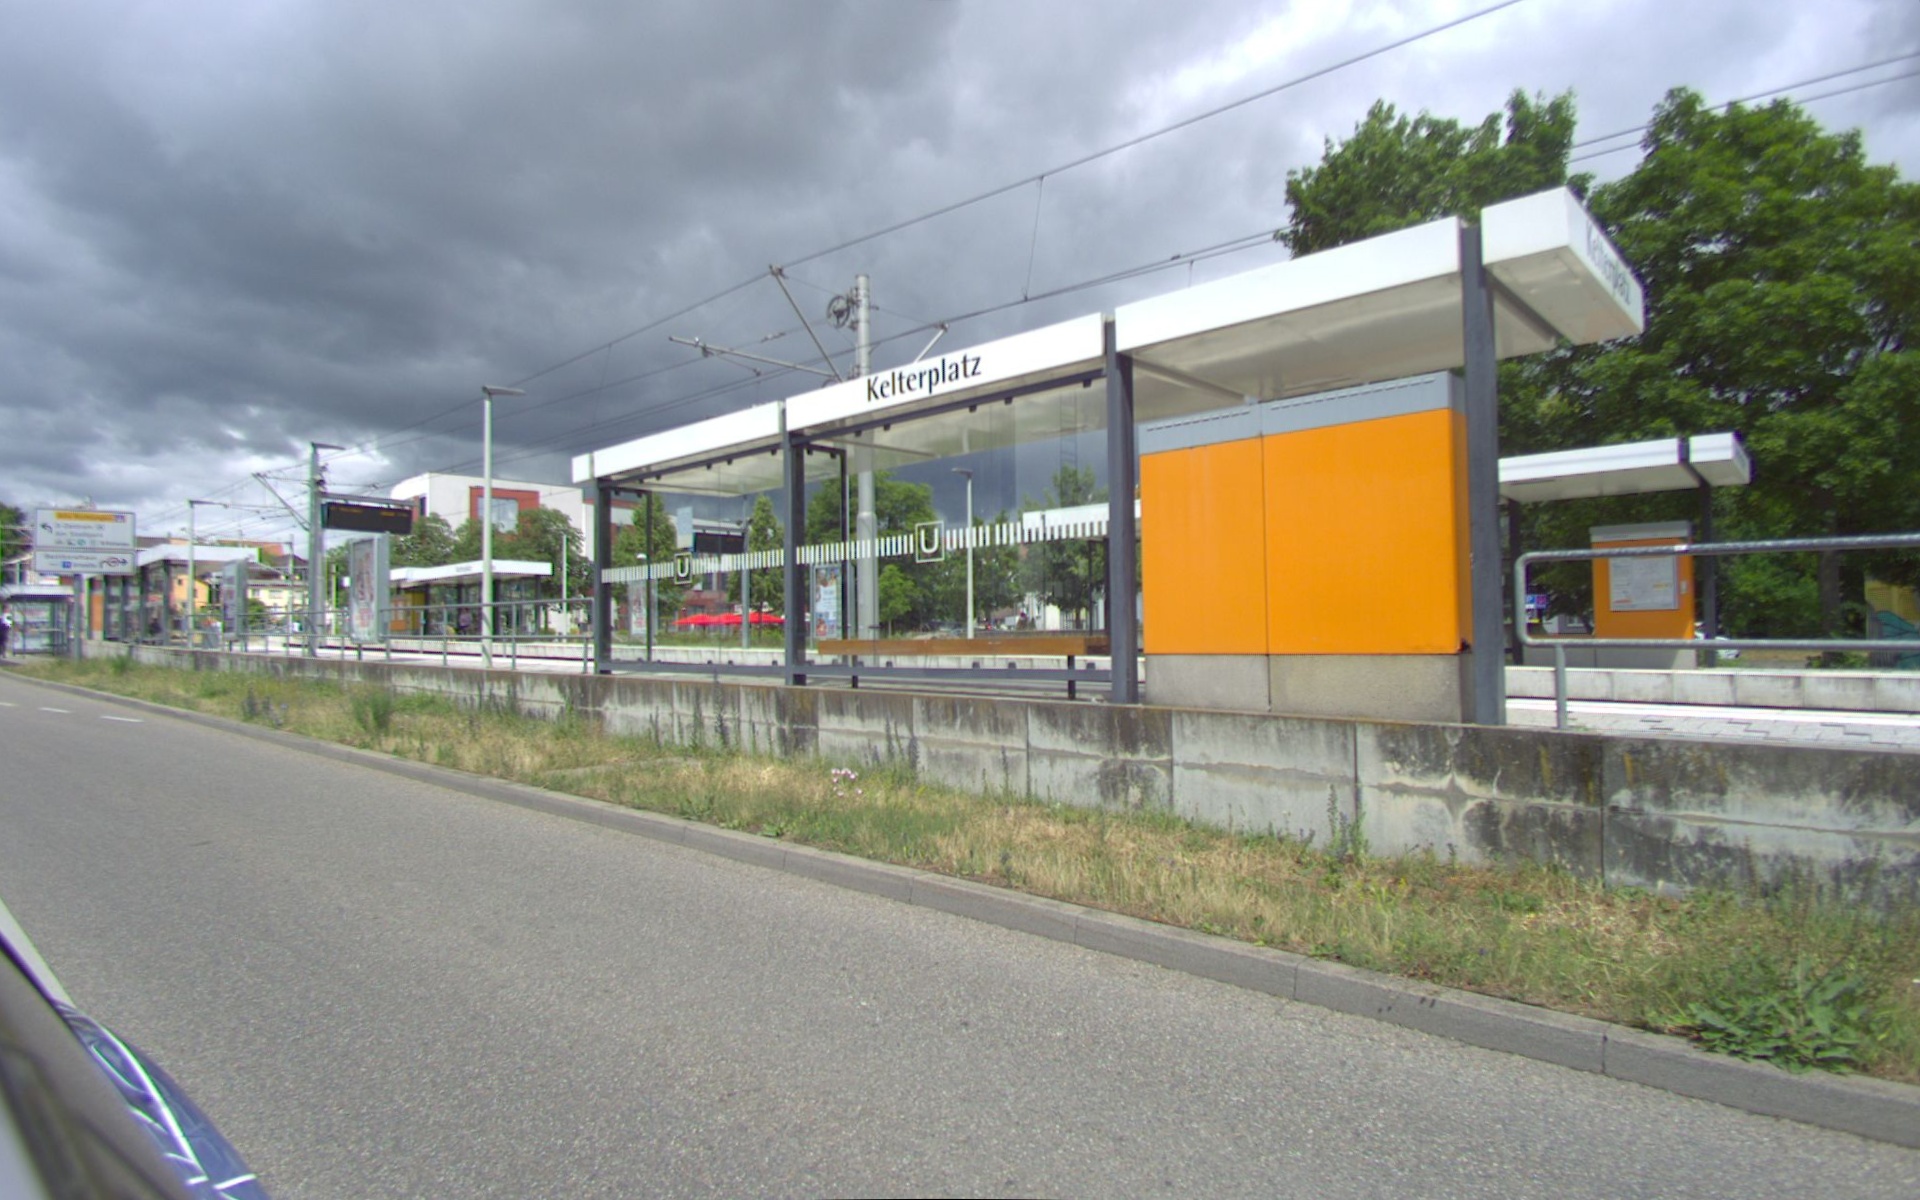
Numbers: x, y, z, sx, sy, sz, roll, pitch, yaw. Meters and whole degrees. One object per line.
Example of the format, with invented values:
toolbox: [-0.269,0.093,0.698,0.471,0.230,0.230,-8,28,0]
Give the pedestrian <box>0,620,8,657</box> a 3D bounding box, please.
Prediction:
pedestrian: [-36.981,1.501,38.945,0.416,1.414,0.409,1,-4,-36]

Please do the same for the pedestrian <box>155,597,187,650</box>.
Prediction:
pedestrian: [-25.132,0.749,32.240,0.700,1.669,0.680,-4,-4,41]

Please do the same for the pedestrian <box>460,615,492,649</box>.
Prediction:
pedestrian: [-18.934,1.263,39.600,1.112,1.302,0.749,-2,-3,43]

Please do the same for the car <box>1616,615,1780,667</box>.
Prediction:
car: [25.992,1.476,35.739,4.406,1.691,1.921,-4,-4,44]

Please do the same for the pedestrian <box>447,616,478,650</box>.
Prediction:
pedestrian: [-19.844,1.323,40.398,1.112,1.302,0.749,-2,-3,43]
